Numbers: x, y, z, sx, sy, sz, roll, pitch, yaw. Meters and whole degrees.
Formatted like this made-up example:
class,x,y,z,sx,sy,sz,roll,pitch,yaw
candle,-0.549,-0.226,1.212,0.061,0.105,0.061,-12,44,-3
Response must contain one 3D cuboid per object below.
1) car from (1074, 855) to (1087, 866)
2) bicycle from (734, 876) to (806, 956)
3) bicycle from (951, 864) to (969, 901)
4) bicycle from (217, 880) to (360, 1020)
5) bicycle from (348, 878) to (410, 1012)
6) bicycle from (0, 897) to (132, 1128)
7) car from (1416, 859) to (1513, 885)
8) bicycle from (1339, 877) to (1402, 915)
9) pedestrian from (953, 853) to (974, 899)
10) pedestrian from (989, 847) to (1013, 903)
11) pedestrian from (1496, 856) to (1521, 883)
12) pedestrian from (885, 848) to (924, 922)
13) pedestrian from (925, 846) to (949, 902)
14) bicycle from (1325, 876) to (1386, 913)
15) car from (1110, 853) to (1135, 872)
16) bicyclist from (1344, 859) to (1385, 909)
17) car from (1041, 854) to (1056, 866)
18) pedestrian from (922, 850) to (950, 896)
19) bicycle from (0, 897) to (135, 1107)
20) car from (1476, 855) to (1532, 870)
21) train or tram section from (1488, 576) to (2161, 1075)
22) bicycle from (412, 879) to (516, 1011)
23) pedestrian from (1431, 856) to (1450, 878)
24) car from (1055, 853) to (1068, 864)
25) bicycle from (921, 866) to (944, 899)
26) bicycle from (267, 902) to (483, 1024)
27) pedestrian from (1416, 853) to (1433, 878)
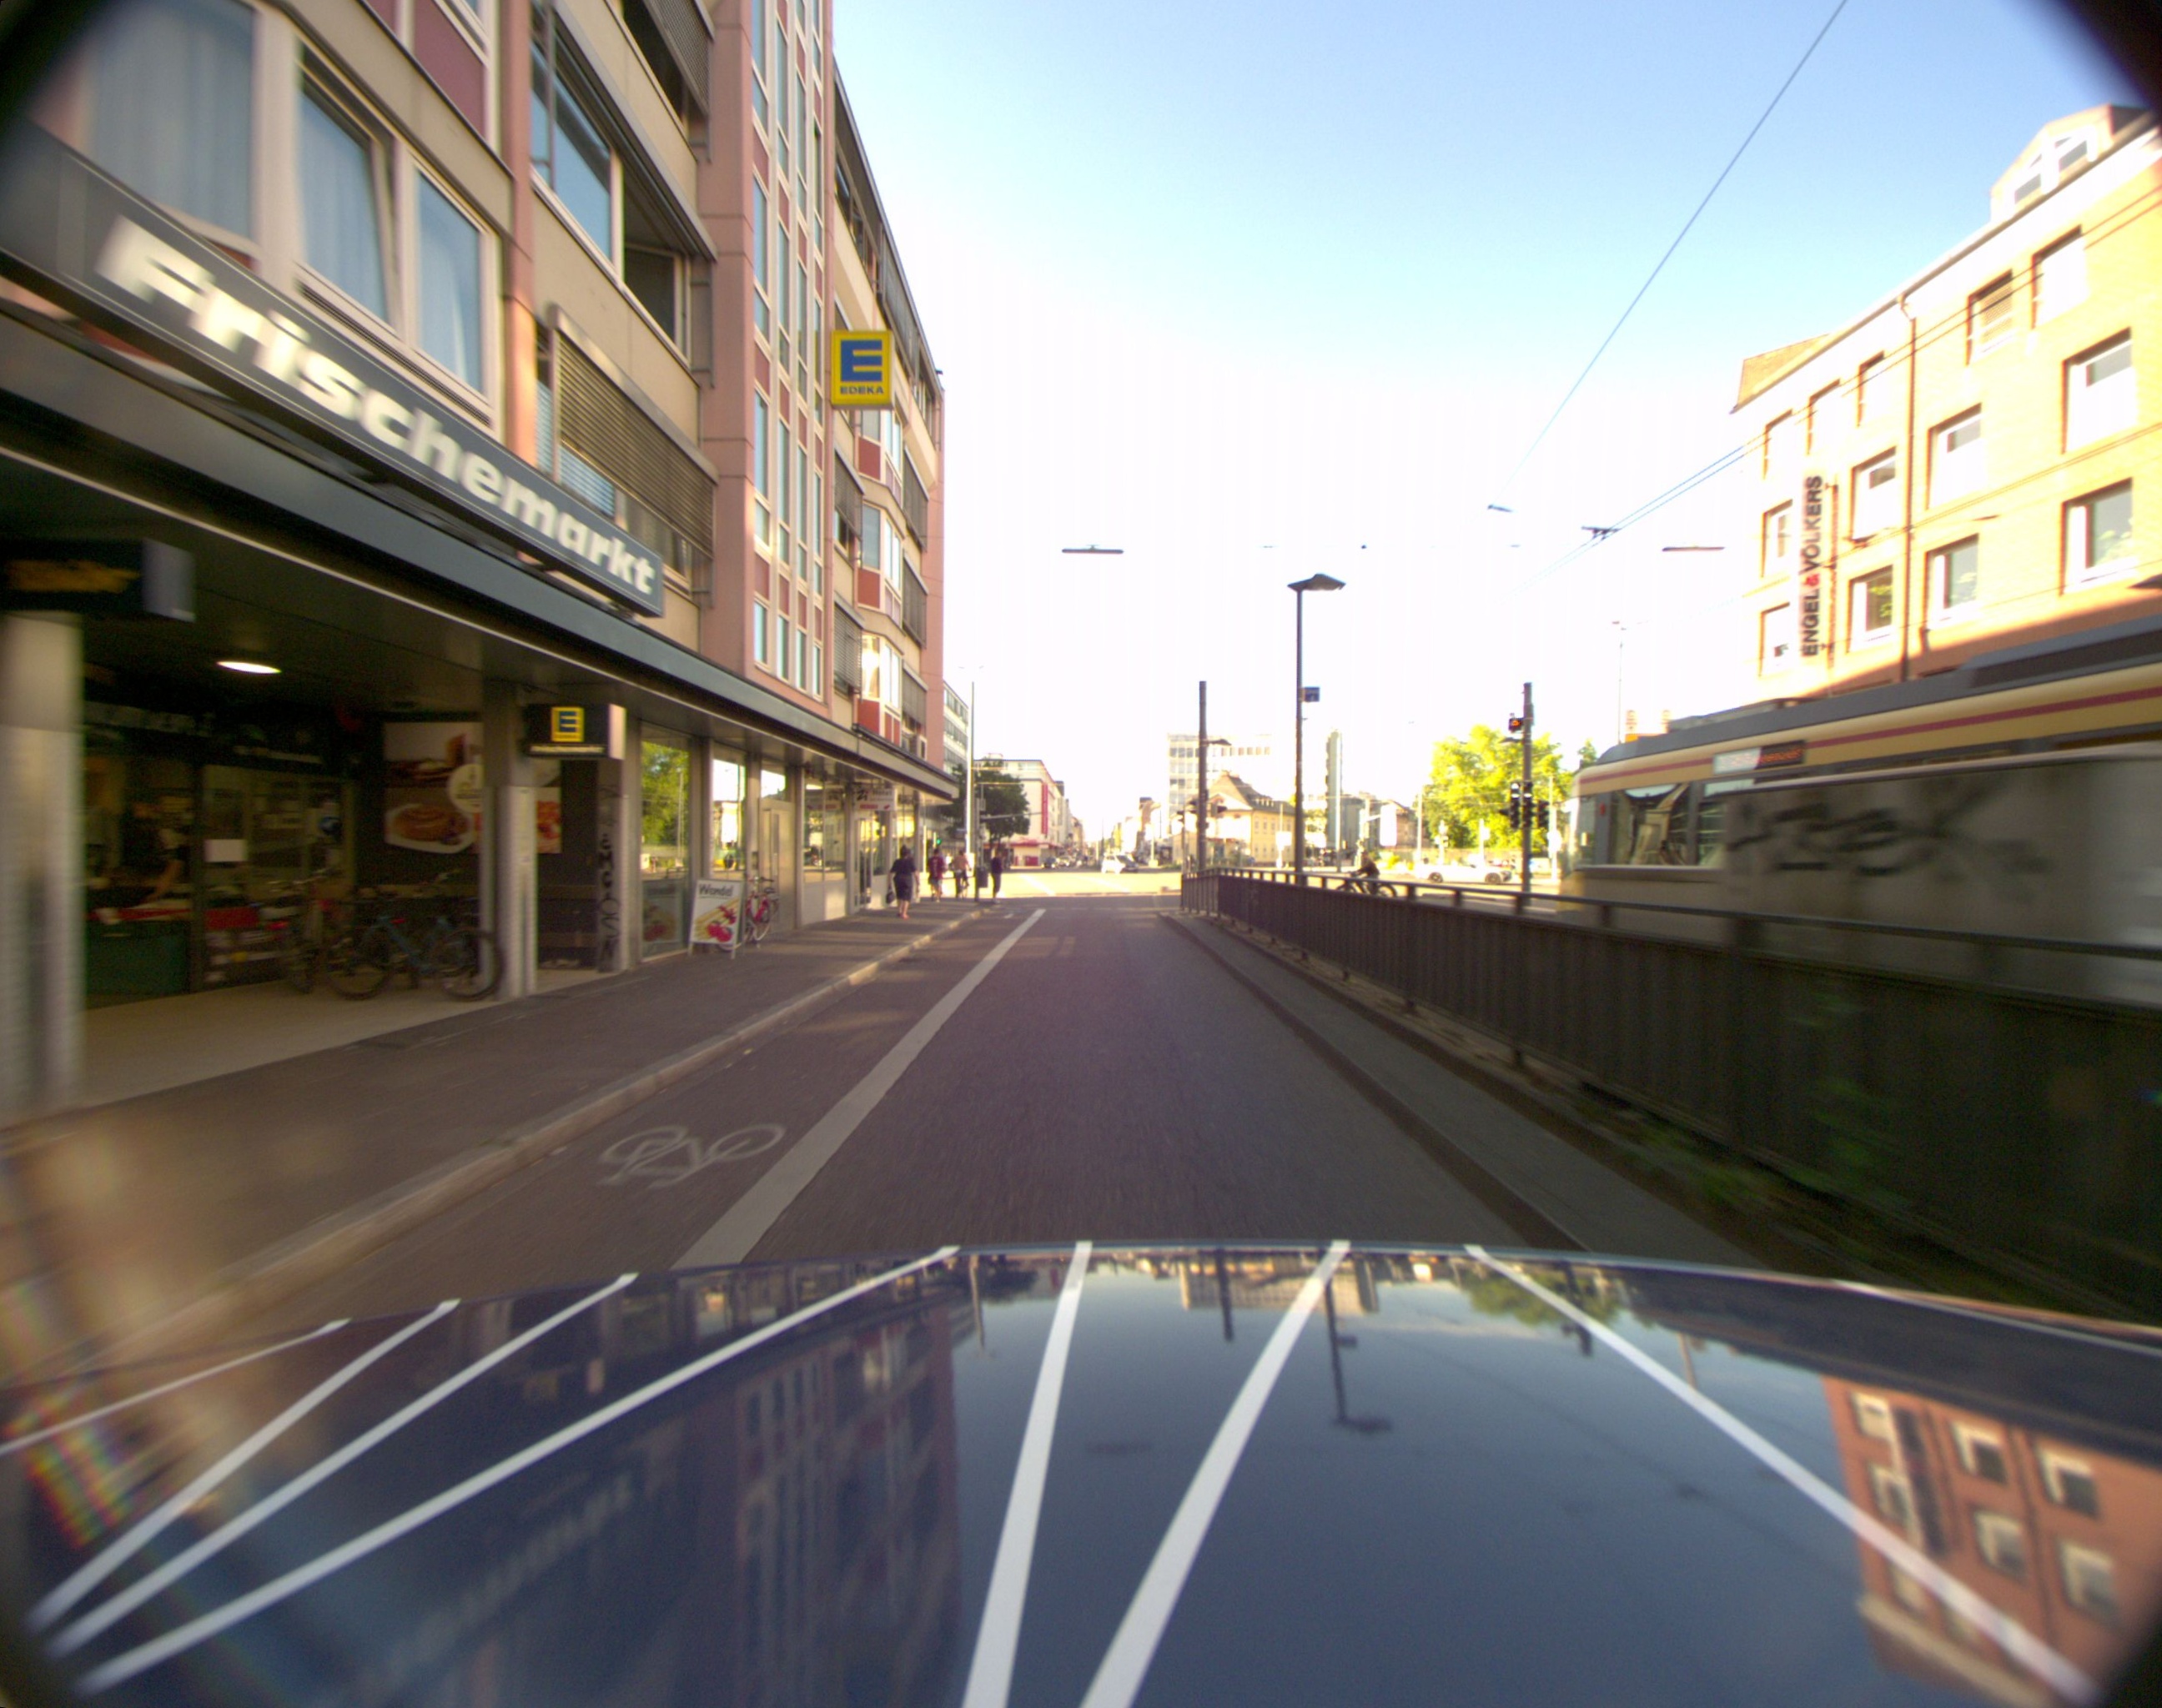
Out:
class,x,y,z,sx,sy,sz,roll,pitch,yaw
car,-0.075,1.041,125.510,1.999,1.683,3.999,0,0,-3
bicycle,-4.757,0.917,11.697,0.516,1.121,1.406,0,0,0
bicycle,-4.227,0.968,26.413,0.430,1.206,1.822,-2,1,-14
bicycle,-7.771,0.879,7.520,0.423,1.193,1.478,0,1,-23
bicycle,-7.156,0.869,7.772,0.423,1.193,1.477,0,1,-41
bicycle,-6.426,0.895,3.751,0.555,1.229,2.087,0,1,25
car,21.463,0.986,42.582,4.679,1.351,2.004,0,0,33
bicycle,7.974,1.156,20.932,1.592,1.015,0.418,0,1,-5
pedestrian,-4.130,0.758,26.760,0.655,1.598,0.595,-2,1,-13
pedestrian,-2.690,0.696,25.470,0.680,1.832,0.606,-2,1,-12
pedestrian,31.950,1.148,56.754,1.442,2.002,1.181,-1,1,37
pedestrian,-3.914,0.667,16.891,0.709,1.604,0.495,1,1,0
pedestrian,-4.616,0.641,24.422,0.671,1.751,0.680,-2,1,-8
bicycle,7.727,1.141,21.403,1.592,1.027,0.418,0,1,-5
car,3.453,0.686,63.220,1.998,1.496,4.001,0,0,3
bicyclist,7.883,0.817,21.169,0.750,1.372,0.901,0,1,-4
car,-4.116,0.710,96.039,1.771,1.458,3.812,0,0,-2
pedestrian,-5.509,0.716,28.870,0.829,1.701,0.784,-2,1,-25
bicycle,-7.032,0.923,4.249,0.555,1.229,2.087,0,1,25
car,39.139,0.761,70.355,4.125,1.351,1.930,0,0,-6
train or tram section,9.402,-0.248,8.003,2.981,3.623,13.943,-1,0,1
bicycle,-6.313,0.876,7.759,1.477,1.193,0.483,1,1,37
pedestrian,34.516,1.253,72.987,1.530,2.002,1.662,-2,1,21
car,-2.659,0.620,105.148,1.771,1.458,3.812,0,0,-2
bicycle,-5.640,1.058,28.818,0.483,1.165,1.756,-2,1,-23
bicycle,-6.340,0.963,6.862,1.513,1.035,0.434,0,-1,-2
pedestrian,28.368,0.912,62.688,1.108,2.002,1.215,-1,1,31
